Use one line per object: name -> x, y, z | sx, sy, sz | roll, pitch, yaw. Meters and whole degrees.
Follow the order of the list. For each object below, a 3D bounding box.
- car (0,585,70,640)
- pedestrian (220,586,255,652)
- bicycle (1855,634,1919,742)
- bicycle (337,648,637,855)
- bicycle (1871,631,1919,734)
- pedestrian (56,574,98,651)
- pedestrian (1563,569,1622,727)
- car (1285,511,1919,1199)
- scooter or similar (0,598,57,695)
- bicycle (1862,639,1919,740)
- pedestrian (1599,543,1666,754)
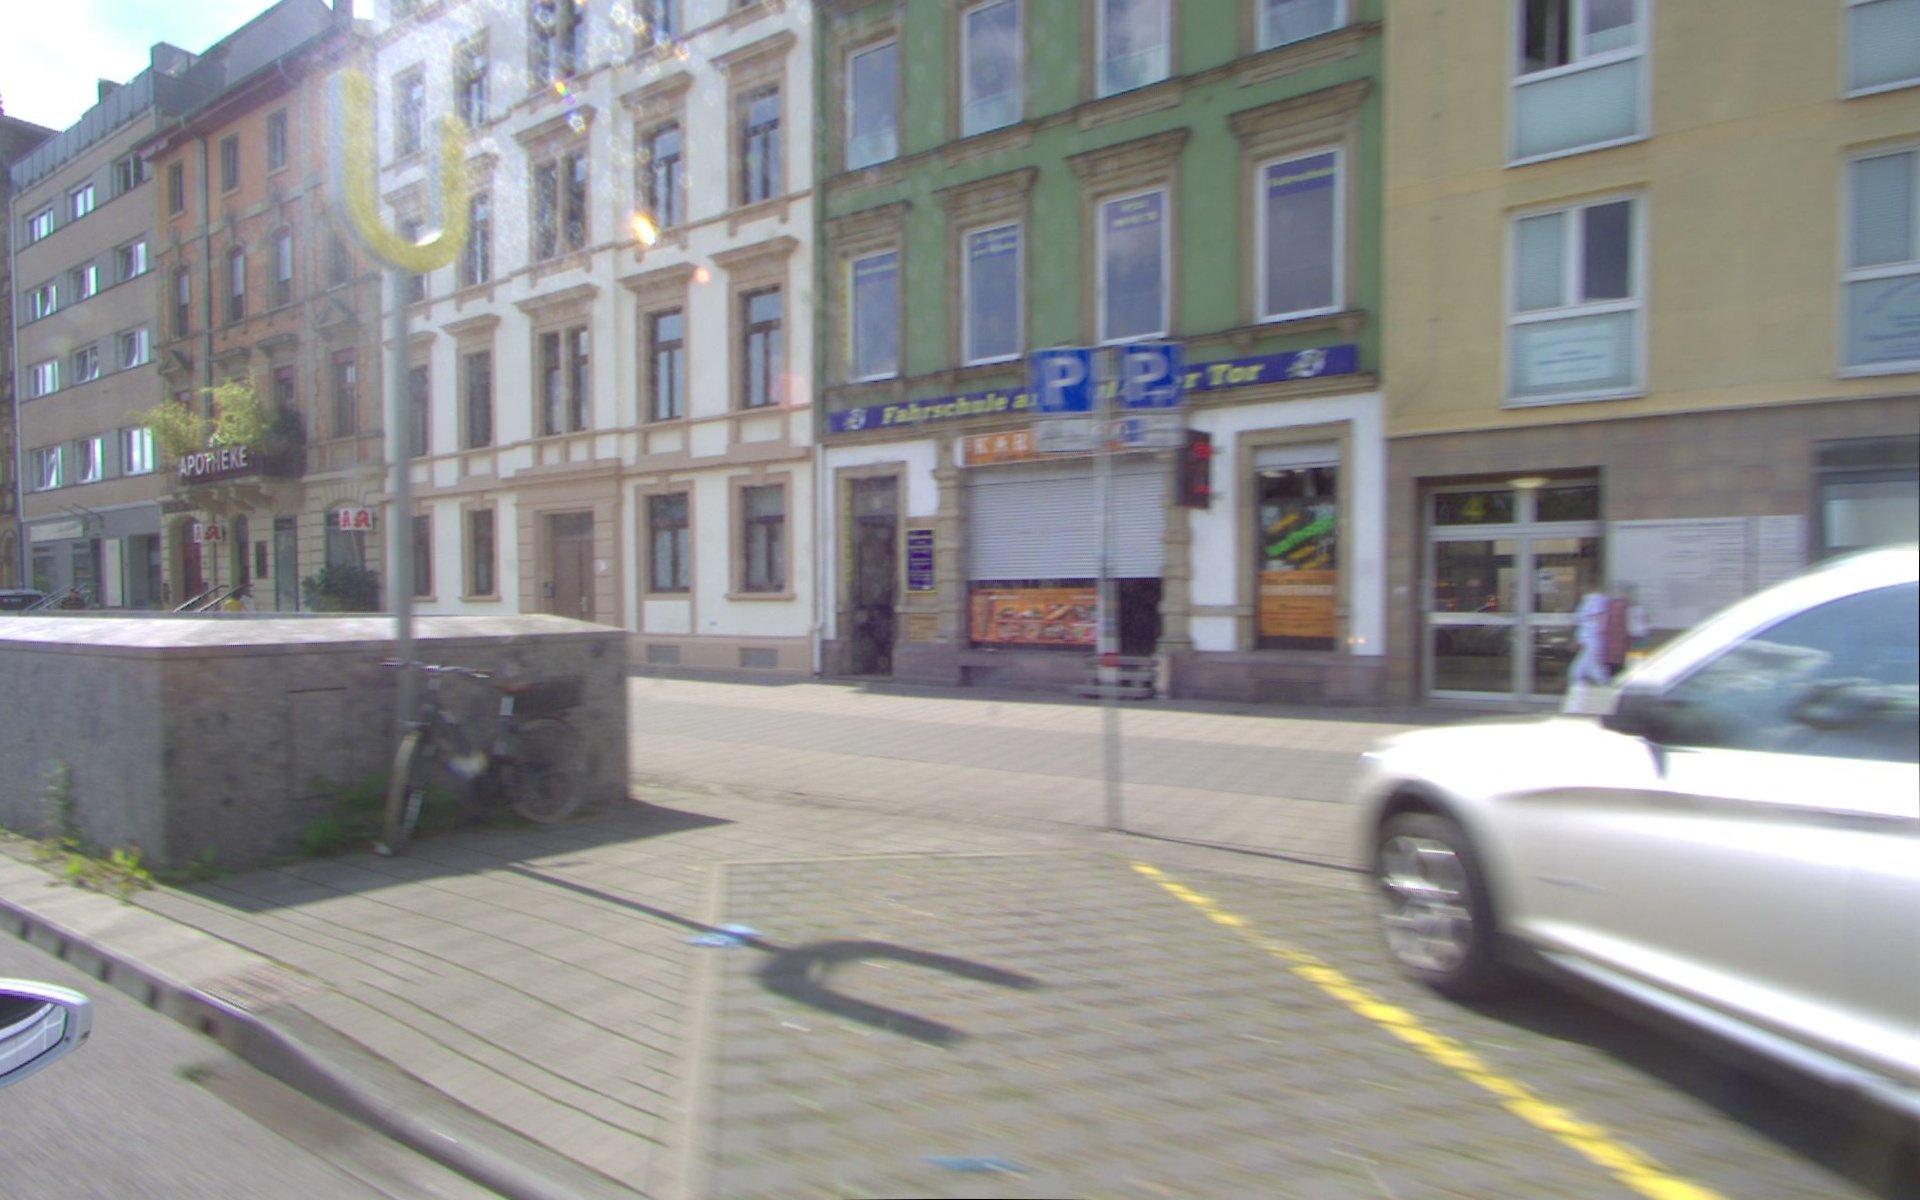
car -> -34.605, 0.443, 36.249 | 4.678, 1.887, 1.992 | -1, 0, 27
pedestrian -> -19.227, 0.499, 26.643 | 0.603, 1.721, 0.577 | 3, 2, 33
bicycle -> 8.919, 0.800, 8.855 | 1.442, 0.935, 0.292 | 1, 1, 30
bicycle -> -2.957, 0.907, 6.440 | 0.603, 1.109, 1.632 | 3, -2, 30
bicycle -> 9.326, 0.785, 9.134 | 1.442, 0.935, 0.292 | 2, 2, 30
pedestrian -> -25.016, 0.346, 28.369 | 0.775, 2.128, 0.719 | 3, 2, 33
pedestrian -> 6.859, 0.495, 10.870 | 0.453, 1.642, 0.600 | 3, 5, 32
car -> 2.895, 0.649, 2.562 | 2.023, 1.669, 4.592 | 0, 0, -10
scooter or similar -> -16.276, 0.761, 16.257 | 0.689, 1.567, 2.315 | 3, 2, 38
bicycle -> 9.486, 0.867, 9.410 | 1.442, 0.935, 0.292 | 1, 1, 30
pedestrian -> 6.764, 0.467, 10.091 | 0.453, 2.041, 0.600 | 3, 2, 32
